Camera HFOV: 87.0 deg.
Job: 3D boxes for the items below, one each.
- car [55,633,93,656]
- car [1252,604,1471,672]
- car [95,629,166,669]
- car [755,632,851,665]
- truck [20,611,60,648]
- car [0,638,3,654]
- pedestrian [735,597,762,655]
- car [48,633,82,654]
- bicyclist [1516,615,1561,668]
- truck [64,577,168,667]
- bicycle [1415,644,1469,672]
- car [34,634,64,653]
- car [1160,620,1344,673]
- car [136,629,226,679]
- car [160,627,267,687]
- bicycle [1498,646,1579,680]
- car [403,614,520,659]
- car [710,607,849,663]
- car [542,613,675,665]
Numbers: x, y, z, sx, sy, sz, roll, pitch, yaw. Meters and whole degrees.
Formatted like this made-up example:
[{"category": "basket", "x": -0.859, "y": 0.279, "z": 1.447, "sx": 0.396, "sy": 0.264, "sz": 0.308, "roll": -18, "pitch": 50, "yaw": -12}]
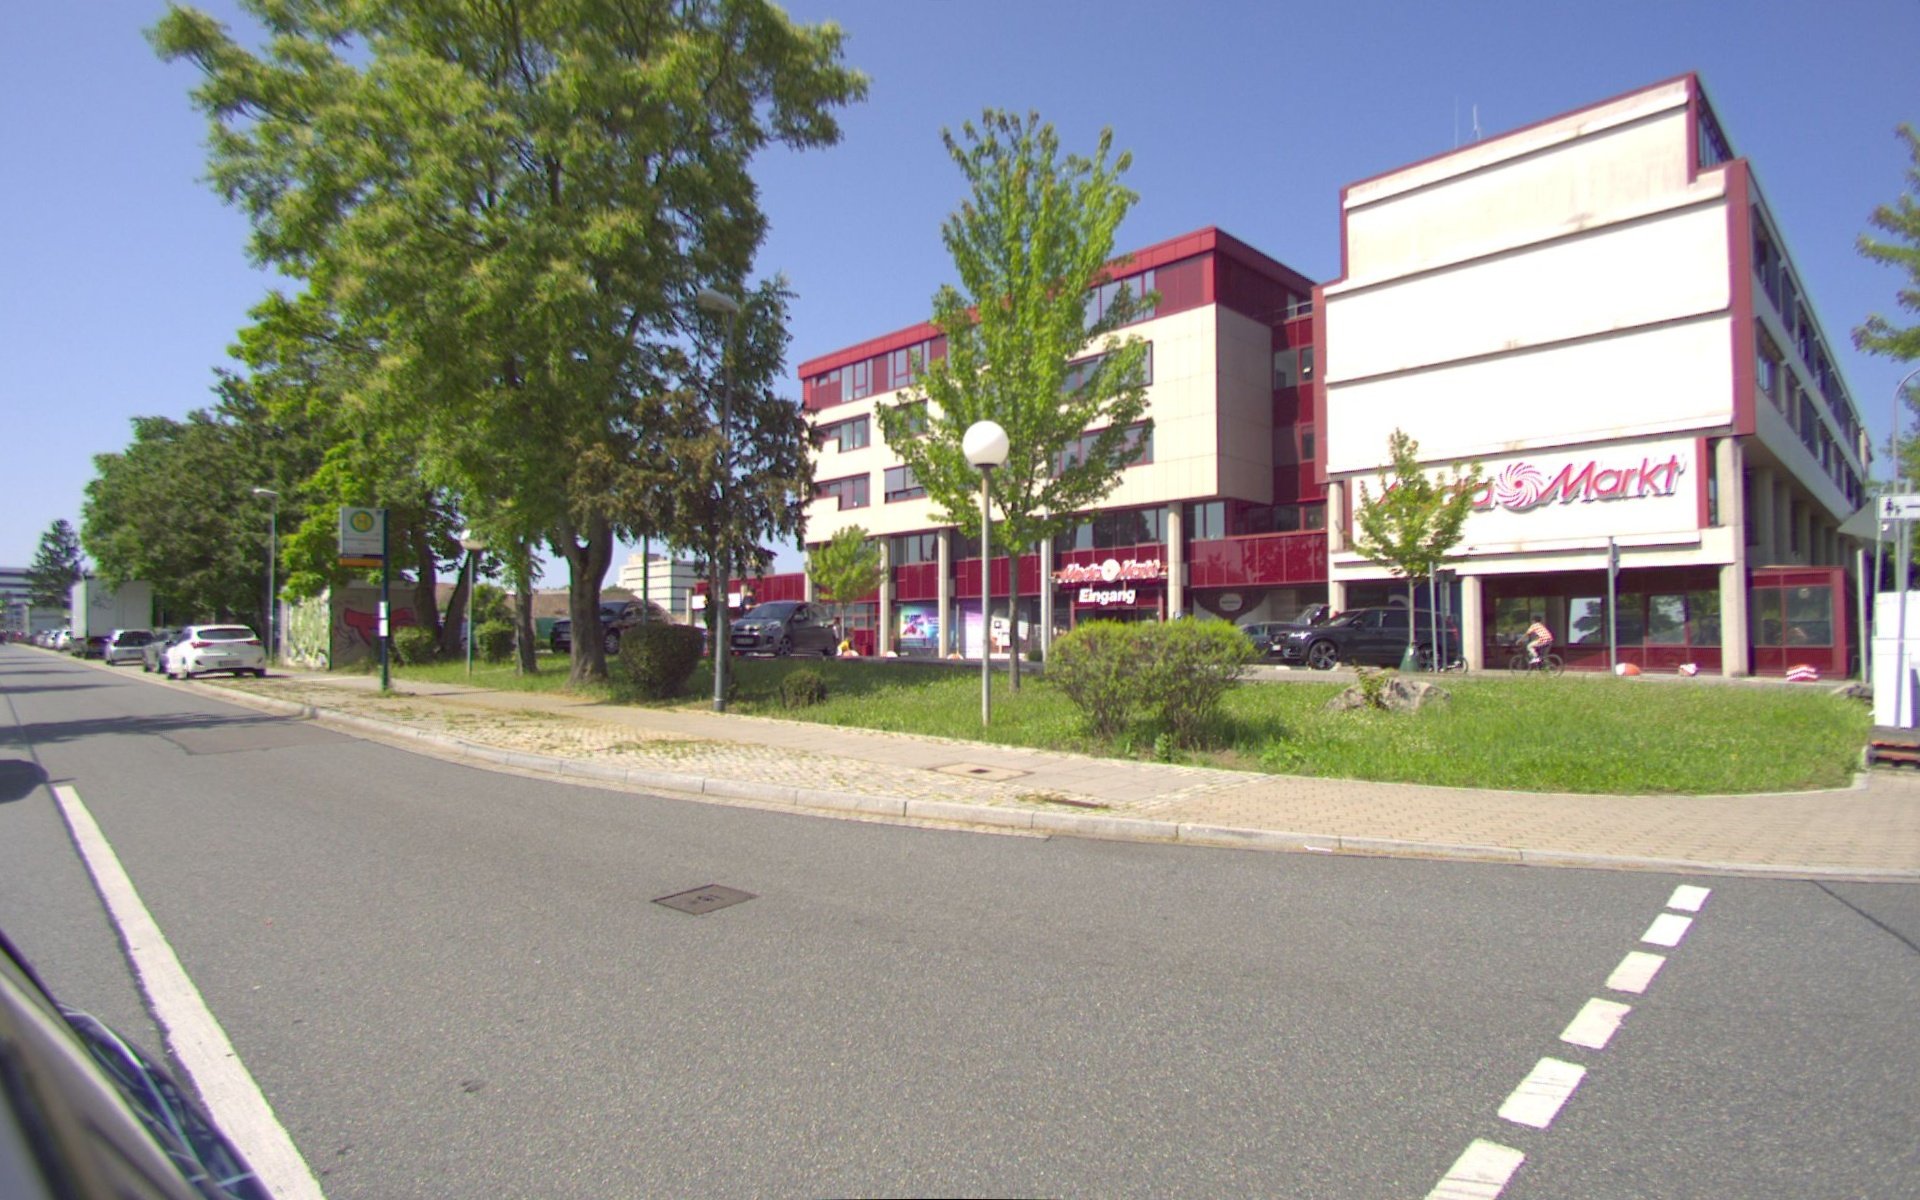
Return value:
[{"category": "car", "x": -59.995, "y": 3.003, "z": 68.486, "sx": 1.789, "sy": 1.527, "sz": 4.003, "roll": 0, "pitch": -2, "yaw": -44}, {"category": "car", "x": 10.754, "y": 1.080, "z": 27.313, "sx": 5.034, "sy": 1.606, "sz": 2.191, "roll": 2, "pitch": -4, "yaw": -8}, {"category": "car", "x": -34.060, "y": 1.994, "z": 41.523, "sx": 4.001, "sy": 1.527, "sz": 1.790, "roll": -3, "pitch": -2, "yaw": 44}, {"category": "car", "x": -7.079, "y": 2.193, "z": 45.918, "sx": 4.178, "sy": 1.463, "sz": 1.723, "roll": 0, "pitch": -2, "yaw": -2}, {"category": "truck", "x": -87.589, "y": 2.847, "z": 96.426, "sx": 2.662, "sy": 3.345, "sz": 7.351, "roll": 1, "pitch": -3, "yaw": -42}, {"category": "car", "x": -106.929, "y": 5.065, "z": 111.708, "sx": 1.765, "sy": 1.807, "sz": 4.003, "roll": 2, "pitch": -3, "yaw": -44}, {"category": "pedestrian", "x": -5.763, "y": 0.706, "z": 27.554, "sx": 0.555, "sy": 1.539, "sz": 0.759, "roll": 0, "pitch": -2, "yaw": -23}, {"category": "car", "x": -67.659, "y": 3.268, "z": 76.455, "sx": 1.789, "sy": 1.527, "sz": 4.003, "roll": 0, "pitch": -2, "yaw": -44}, {"category": "bicyclist", "x": 16.262, "y": 1.160, "z": 28.467, "sx": 0.712, "sy": 1.459, "sz": 0.923, "roll": 0, "pitch": -1, "yaw": -43}, {"category": "truck", "x": -42.732, "y": 1.163, "z": 51.091, "sx": 3.306, "sy": 4.175, "sz": 9.283, "roll": 0, "pitch": -2, "yaw": -44}, {"category": "bicycle", "x": 15.464, "y": 1.849, "z": 32.508, "sx": 0.717, "sy": 0.799, "sz": 1.845, "roll": 0, "pitch": 0, "yaw": -6}, {"category": "car", "x": -76.565, "y": 3.667, "z": 85.020, "sx": 1.789, "sy": 1.527, "sz": 4.003, "roll": 0, "pitch": -2, "yaw": -44}, {"category": "car", "x": 8.542, "y": 1.374, "z": 29.884, "sx": 4.798, "sy": 1.504, "sz": 1.919, "roll": 0, "pitch": -3, "yaw": -2}, {"category": "car", "x": -25.648, "y": 1.746, "z": 33.293, "sx": 4.001, "sy": 1.527, "sz": 1.790, "roll": -3, "pitch": -2, "yaw": 44}, {"category": "car", "x": -20.652, "y": 1.527, "z": 27.927, "sx": 4.001, "sy": 1.504, "sz": 1.741, "roll": -2, "pitch": -1, "yaw": 44}, {"category": "bicycle", "x": 16.261, "y": 1.757, "z": 28.480, "sx": 0.717, "sy": 0.855, "sz": 1.845, "roll": 0, "pitch": -1, "yaw": -42}, {"category": "car", "x": -21.404, "y": 1.597, "z": 43.704, "sx": 1.981, "sy": 1.818, "sz": 4.694, "roll": -2, "pitch": -3, "yaw": 14}, {"category": "car", "x": -4.626, "y": 0.881, "z": 26.518, "sx": 1.707, "sy": 1.348, "sz": 3.959, "roll": -2, "pitch": -1, "yaw": 23}, {"category": "car", "x": -11.055, "y": 1.198, "z": 32.247, "sx": 1.833, "sy": 1.504, "sz": 4.798, "roll": -1, "pitch": -1, "yaw": 12}]
